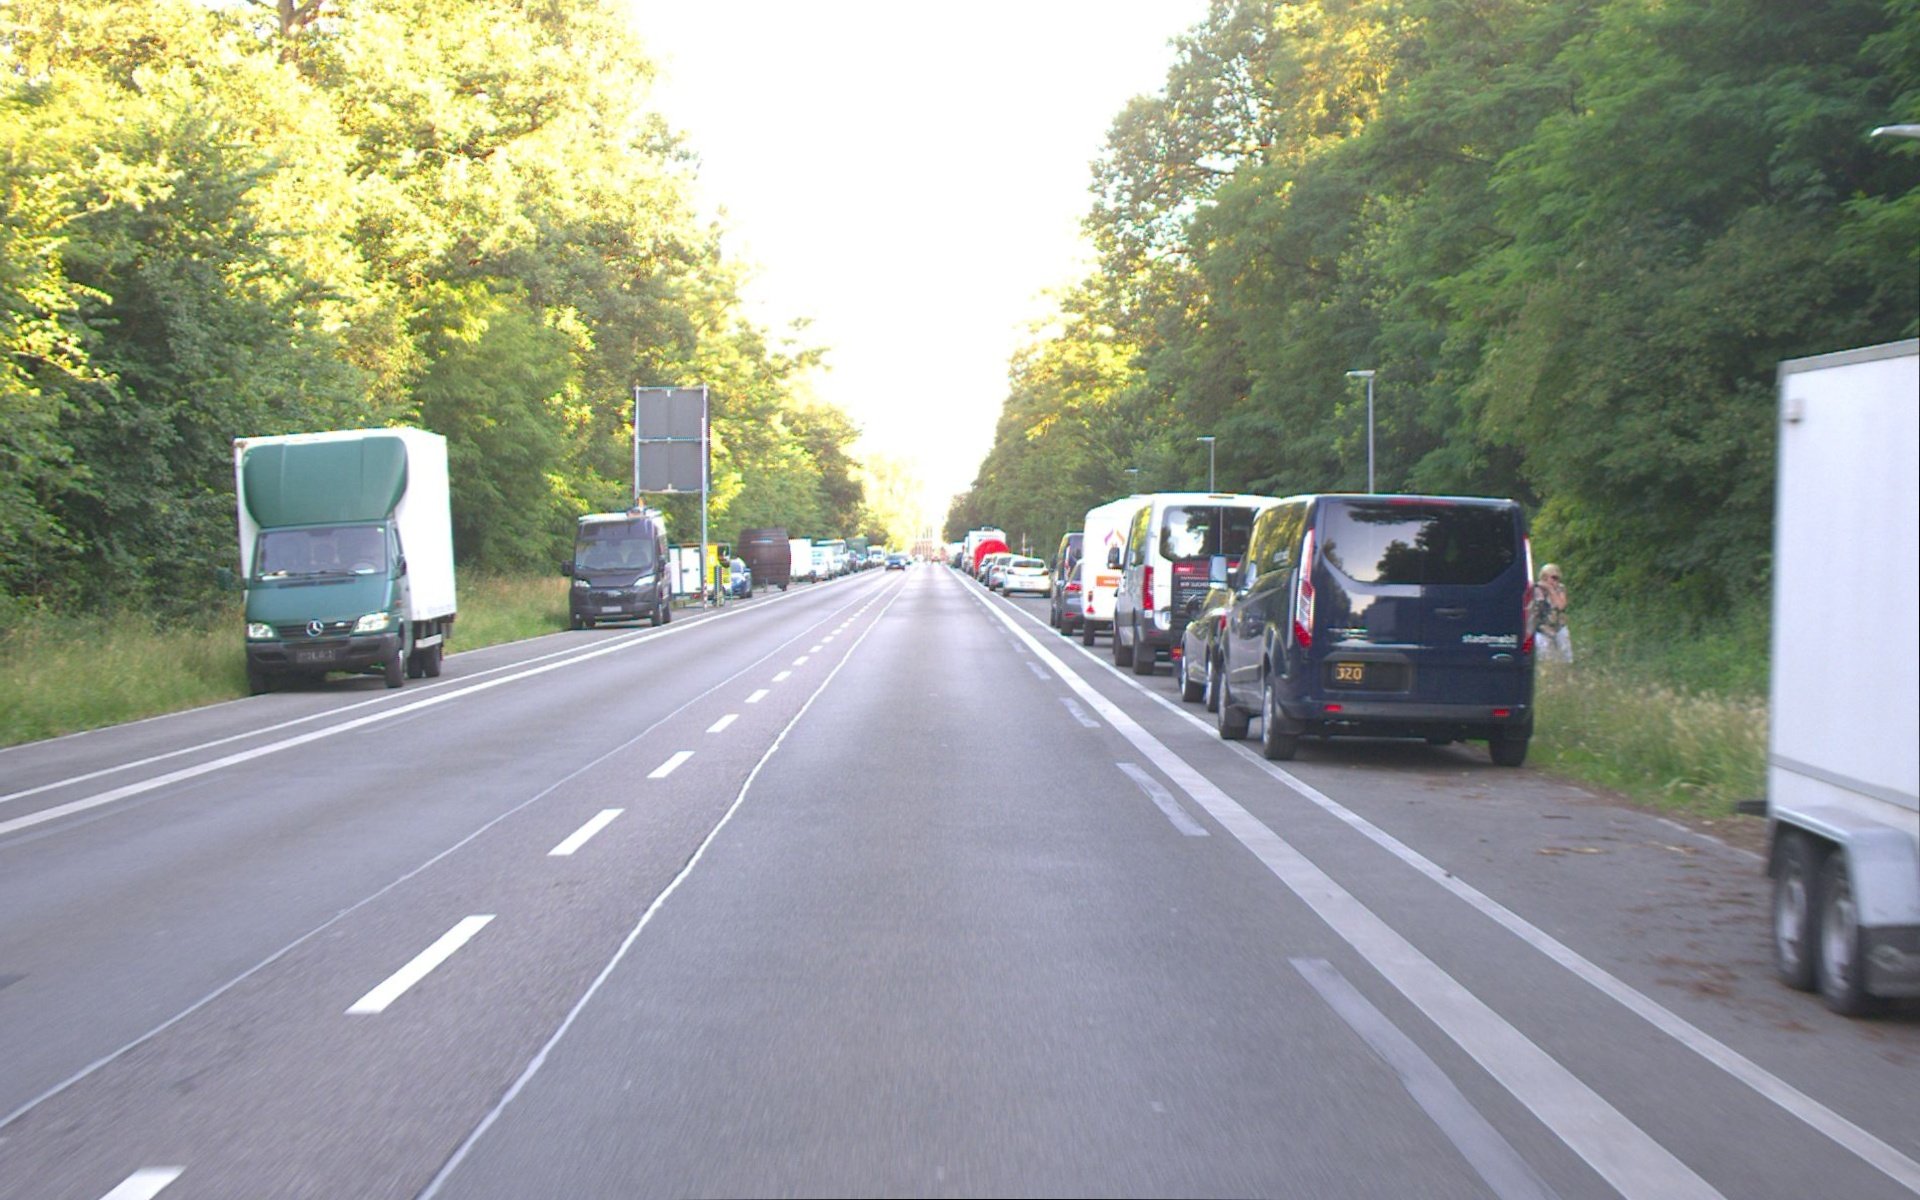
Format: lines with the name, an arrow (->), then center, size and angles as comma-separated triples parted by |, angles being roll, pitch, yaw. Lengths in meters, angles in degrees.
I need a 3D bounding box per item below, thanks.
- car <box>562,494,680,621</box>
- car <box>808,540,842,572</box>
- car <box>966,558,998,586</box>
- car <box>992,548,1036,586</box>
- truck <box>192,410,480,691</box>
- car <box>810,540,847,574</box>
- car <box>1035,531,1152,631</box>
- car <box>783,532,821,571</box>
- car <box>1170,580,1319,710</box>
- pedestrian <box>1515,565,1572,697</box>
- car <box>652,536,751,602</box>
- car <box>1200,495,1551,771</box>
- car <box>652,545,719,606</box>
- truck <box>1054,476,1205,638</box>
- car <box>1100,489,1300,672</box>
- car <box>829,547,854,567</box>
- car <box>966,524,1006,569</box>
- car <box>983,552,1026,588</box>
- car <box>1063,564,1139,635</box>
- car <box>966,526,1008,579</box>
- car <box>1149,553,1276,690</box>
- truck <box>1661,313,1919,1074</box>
car -> -7.780, -0.987, 79.385 | 2.186, 2.779, 5.334 | -1, 1, -1
car -> -8.835, -2.899, 225.103 | 1.993, 2.007, 4.000 | -1, 1, 1
car -> 1.213, -1.556, 187.982 | 1.645, 1.481, 3.595 | 1, 1, -1
car -> 2.216, -1.376, 141.796 | 1.645, 1.481, 4.000 | 1, 1, -1
truck -> -7.977, -0.652, 44.737 | 2.504, 3.317, 6.842 | -1, 1, -1
car -> -7.997, -2.643, 209.126 | 1.993, 2.007, 4.000 | -1, 1, 1
car -> 2.678, -0.391, 70.136 | 1.993, 1.948, 4.300 | 1, 1, -3
car -> -8.592, -2.610, 186.956 | 1.993, 2.007, 4.000 | -1, -1, -3
car -> 2.870, 0.433, 35.064 | 1.147, 1.247, 2.754 | 1, 1, -3
pedestrian -> 6.327, 0.330, 37.296 | 0.466, 1.412, 0.717 | -1, 0, -1
car -> -8.185, -1.005, 109.086 | 1.701, 2.007, 3.996 | 2, 1, 18
car -> 3.135, 0.216, 26.817 | 1.993, 1.948, 4.300 | 1, 1, -3
car -> -8.020, -0.735, 100.673 | 1.771, 1.666, 4.001 | 1, 1, -2
truck -> 2.873, -0.738, 59.164 | 2.141, 2.650, 4.300 | 1, 1, -3
car -> 3.155, -0.275, 46.079 | 2.141, 2.306, 4.300 | 1, 1, -3
car -> -8.988, -3.265, 260.205 | 1.645, 1.481, 3.595 | -1, 1, 2
car -> 1.879, -3.846, 249.524 | 2.742, 3.109, 5.740 | -1, -1, -1
car -> 1.588, -1.085, 124.053 | 1.427, 1.218, 3.412 | -3, 1, 0
car -> 2.617, -0.022, 64.155 | 1.147, 1.247, 2.754 | -1, 1, -3
car -> 1.597, -2.862, 205.991 | 2.314, 3.082, 5.639 | 1, 1, -1
car -> 2.946, 0.227, 40.471 | 1.147, 1.541, 2.754 | 1, 1, -3
truck -> 3.865, 0.267, 12.317 | 1.885, 2.276, 4.299 | 1, 1, 1
